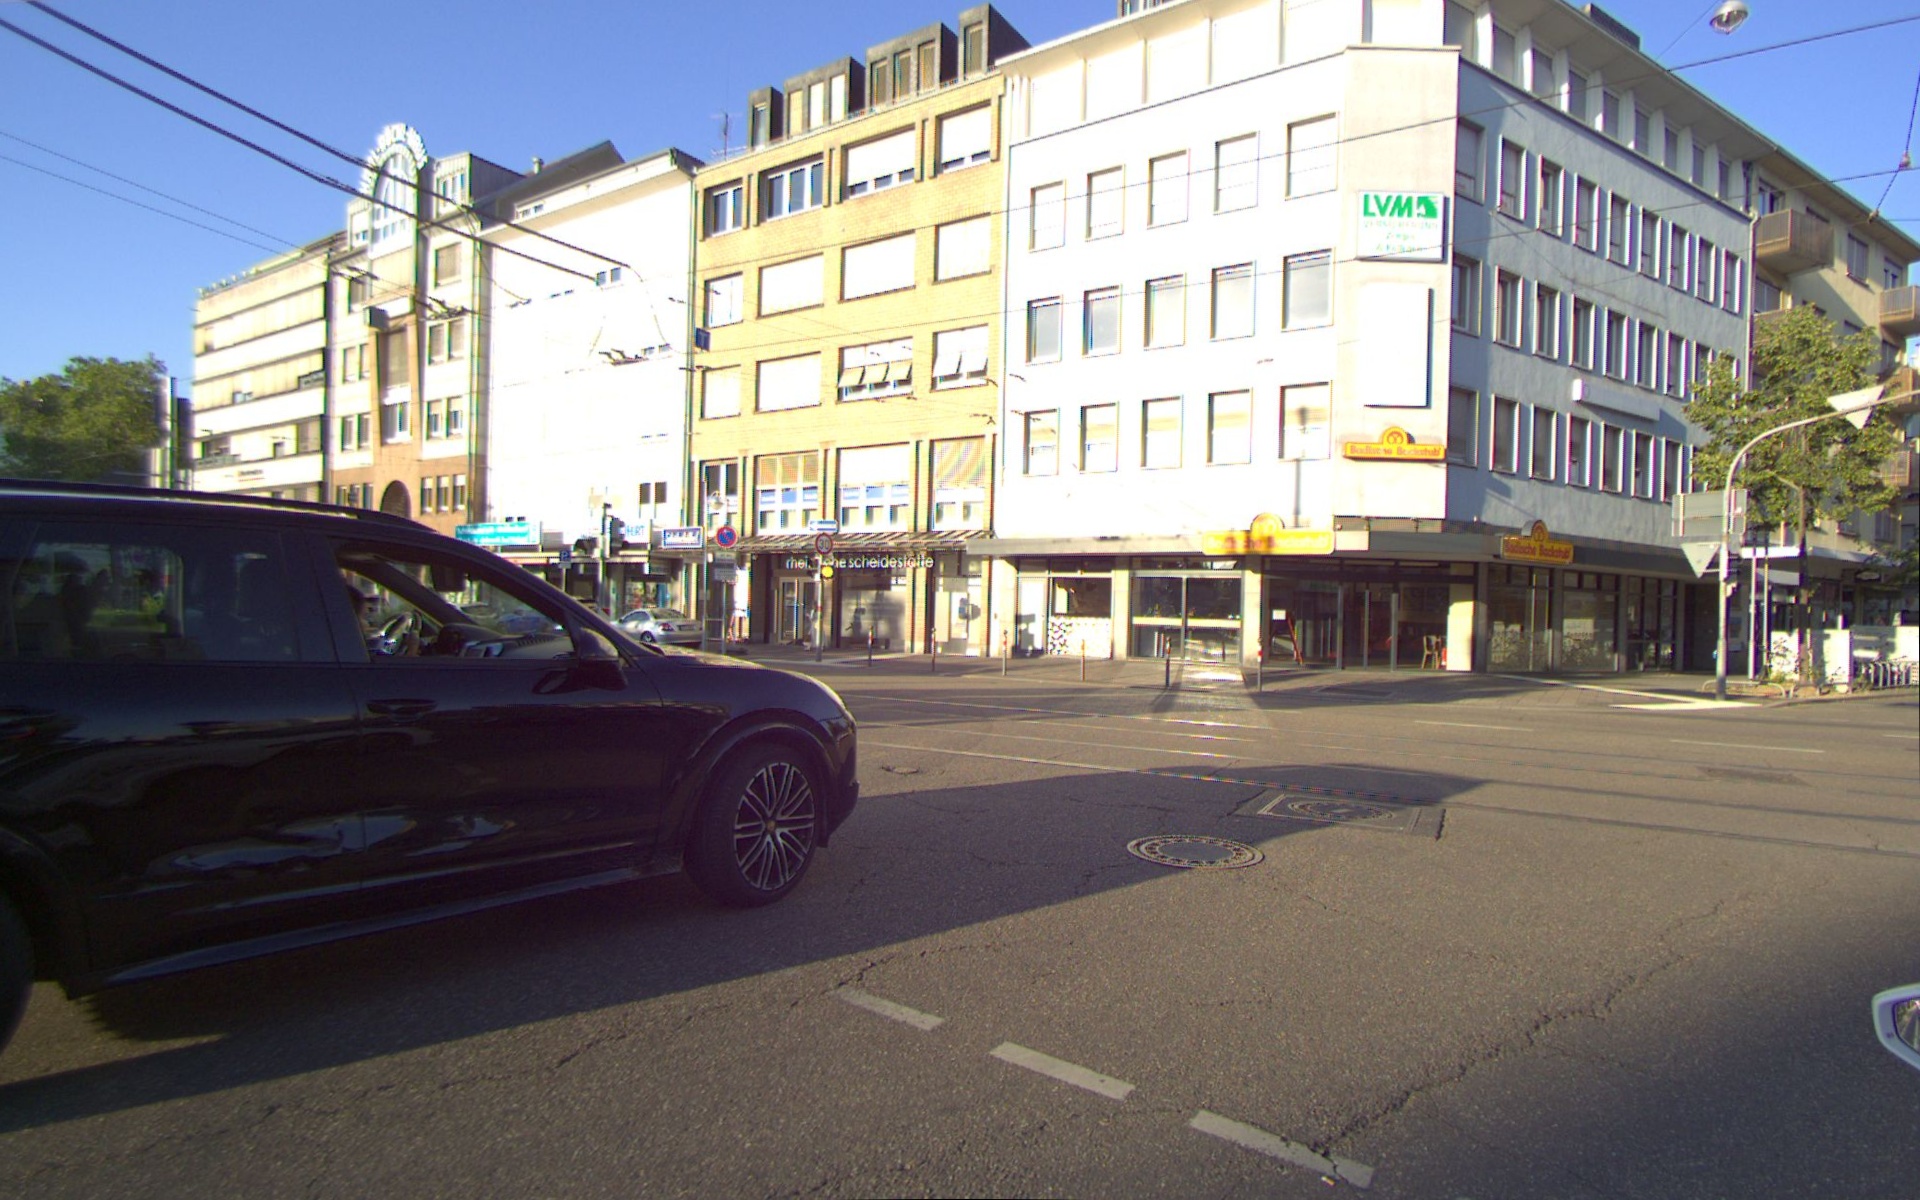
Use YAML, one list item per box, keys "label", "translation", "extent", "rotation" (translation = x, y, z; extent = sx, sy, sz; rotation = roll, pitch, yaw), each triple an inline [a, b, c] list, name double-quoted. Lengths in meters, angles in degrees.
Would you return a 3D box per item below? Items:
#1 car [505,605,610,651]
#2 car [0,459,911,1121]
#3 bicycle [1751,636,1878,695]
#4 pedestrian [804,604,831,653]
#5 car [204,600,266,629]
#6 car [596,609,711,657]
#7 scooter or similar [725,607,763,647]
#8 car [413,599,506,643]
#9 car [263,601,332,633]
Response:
- label: "car"
  translation: [-13.155, 0.869, 32.809]
  extent: [3.332, 1.372, 1.632]
  rotation: [0, 2, 35]
- label: "car"
  translation: [-2.438, 0.500, 3.999]
  extent: [1.780, 1.720, 4.545]
  rotation: [2, 0, 42]
- label: "bicycle"
  translation: [21.732, 1.641, 25.600]
  extent: [0.634, 1.269, 2.350]
  rotation: [2, 1, -36]
- label: "pedestrian"
  translation: [-4.373, 0.866, 30.873]
  extent: [0.612, 1.492, 0.544]
  rotation: [0, 3, 19]
- label: "car"
  translation: [-34.747, 0.688, 48.131]
  extent: [3.095, 1.309, 1.456]
  rotation: [0, 2, 35]
- label: "car"
  translation: [-9.318, 0.962, 30.439]
  extent: [3.332, 1.270, 1.632]
  rotation: [0, 2, 35]
- label: "scooter or similar"
  translation: [-7.241, 0.898, 33.660]
  extent: [1.443, 1.275, 0.394]
  rotation: [1, 1, 36]
- label: "car"
  translation: [-18.245, 0.723, 36.567]
  extent: [3.332, 1.484, 1.632]
  rotation: [0, 2, 35]
- label: "car"
  translation: [-28.975, 0.727, 43.929]
  extent: [3.095, 1.309, 1.456]
  rotation: [0, 2, 35]
